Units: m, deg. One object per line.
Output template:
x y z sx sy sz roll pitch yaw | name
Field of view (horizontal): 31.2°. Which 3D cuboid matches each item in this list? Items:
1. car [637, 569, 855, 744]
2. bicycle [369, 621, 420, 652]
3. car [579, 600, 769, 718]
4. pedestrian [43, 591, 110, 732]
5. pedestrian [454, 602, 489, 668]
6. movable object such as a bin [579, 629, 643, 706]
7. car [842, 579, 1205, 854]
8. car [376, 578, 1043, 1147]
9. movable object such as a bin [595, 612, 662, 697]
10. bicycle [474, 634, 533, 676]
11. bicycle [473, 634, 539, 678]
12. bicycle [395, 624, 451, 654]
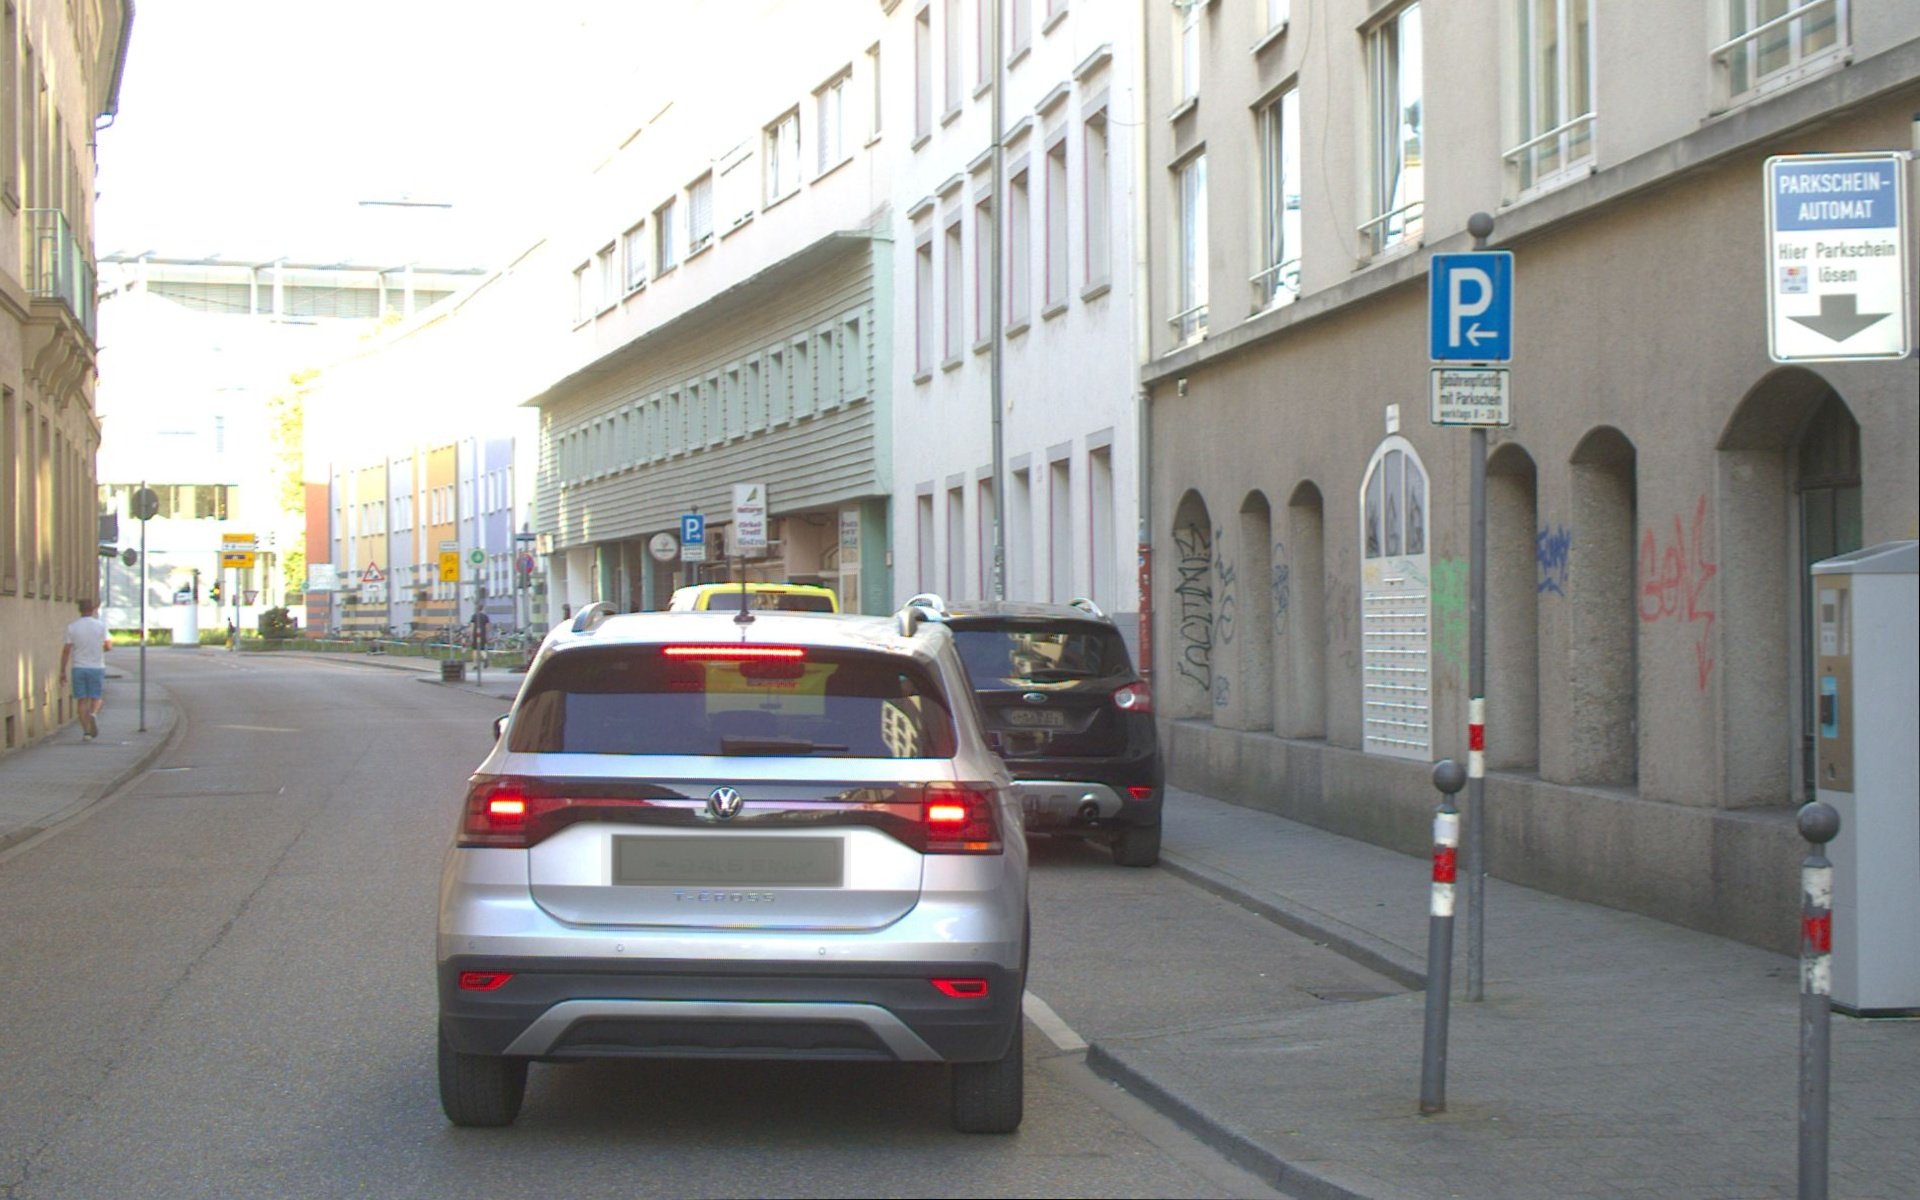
-2.526 0.628 39.507 1.883 1.875 4.846 0 0 -11 | car
-21.112 1.369 128.289 1.810 1.134 0.552 -1 -1 -17 | bicycle
-3.853 0.769 45.632 1.883 1.484 4.369 0 0 -13 | car
-10.618 0.736 41.343 0.692 1.664 0.875 2 -1 -12 | pedestrian
-13.254 0.956 93.282 0.696 1.754 1.189 -3 0 -16 | pedestrian
-6.611 1.276 65.053 0.981 1.380 1.321 -2 -2 -14 | movable object such as a bin
0.309 0.719 22.939 1.824 1.649 4.494 0 0 -7 | car
-0.693 0.736 11.450 1.825 1.554 3.986 0 0 0 | car
-6.136 1.015 63.544 0.981 1.475 1.551 -2 -2 -14 | movable object such as a bin
-13.291 1.601 100.151 1.640 1.137 0.283 -4 1 -24 | bicycle
-13.035 1.595 98.638 1.748 1.137 0.552 -4 1 -16 | bicycle
-17.488 1.267 111.995 1.748 0.943 0.552 0 0 -16 | bicycle
